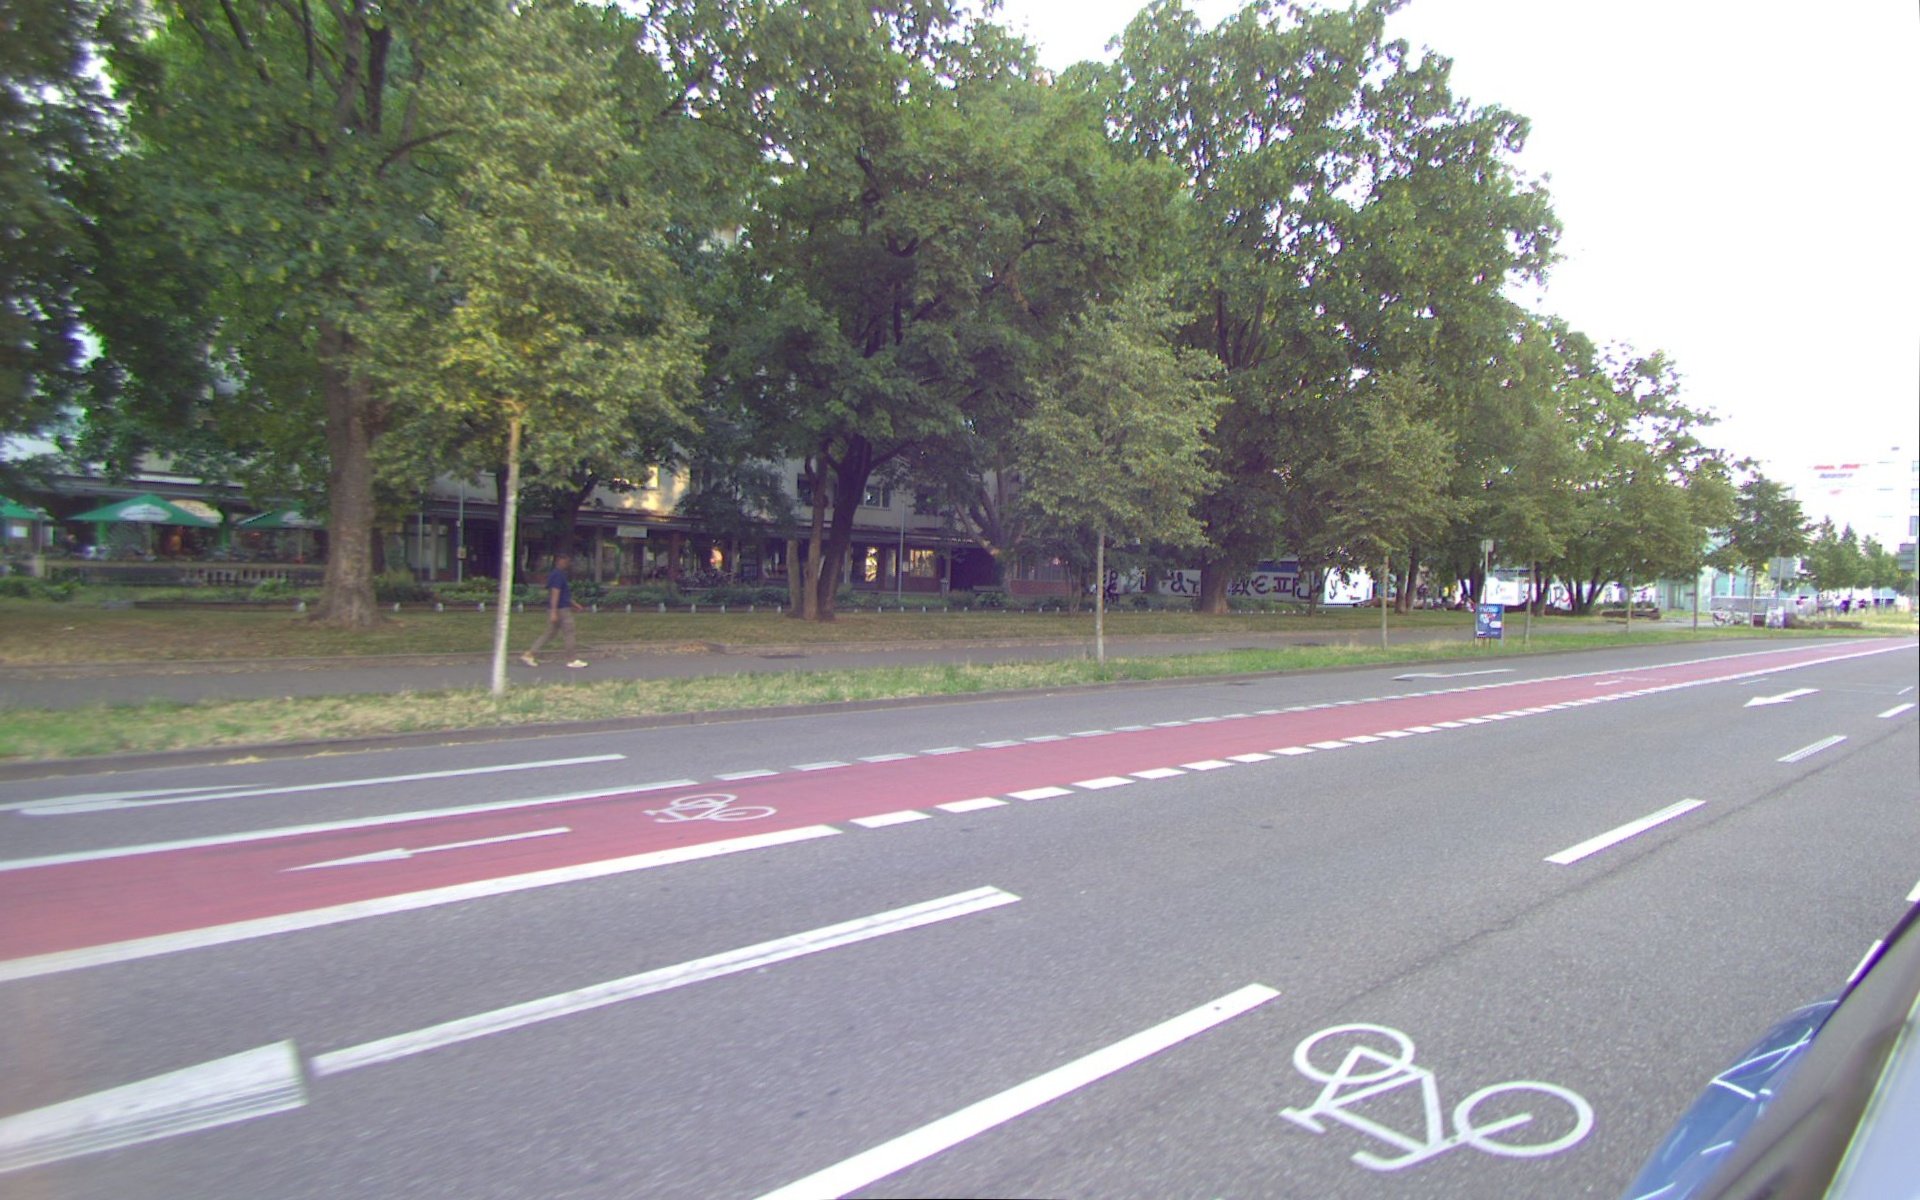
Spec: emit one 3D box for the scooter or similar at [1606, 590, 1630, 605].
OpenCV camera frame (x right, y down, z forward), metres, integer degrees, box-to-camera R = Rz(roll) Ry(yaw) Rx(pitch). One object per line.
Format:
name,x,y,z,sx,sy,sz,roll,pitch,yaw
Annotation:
scooter or similar,54.106,-0.235,83.220,0.466,1.236,1.571,0,0,-42

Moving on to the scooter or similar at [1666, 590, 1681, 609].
scooter or similar,49.074,-0.034,69.600,1.373,1.235,0.425,1,4,-40

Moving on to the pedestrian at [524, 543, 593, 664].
pedestrian,-5.912,0.033,14.904,0.735,1.714,0.696,0,2,-41

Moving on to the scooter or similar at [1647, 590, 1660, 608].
scooter or similar,48.269,-0.072,70.451,0.473,1.235,1.550,6,4,43

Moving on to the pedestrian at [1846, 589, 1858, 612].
pedestrian,75.971,0.042,86.179,0.608,1.957,0.644,1,1,-38

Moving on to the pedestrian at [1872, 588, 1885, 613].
pedestrian,72.974,0.074,80.371,0.608,1.957,0.644,1,2,-40

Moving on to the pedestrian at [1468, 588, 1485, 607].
pedestrian,25.074,-0.128,49.095,0.674,0.895,0.588,2,1,25

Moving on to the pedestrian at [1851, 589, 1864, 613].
pedestrian,72.793,0.088,82.114,0.608,1.957,0.644,1,1,-38

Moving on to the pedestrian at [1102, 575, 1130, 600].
pedestrian,8.205,-0.642,53.186,0.889,1.276,1.135,1,2,-38

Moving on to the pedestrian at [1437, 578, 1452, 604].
pedestrian,35.140,-0.663,73.396,0.587,1.843,0.771,1,1,-25

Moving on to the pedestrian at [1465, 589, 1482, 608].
pedestrian,25.217,-0.089,49.710,0.674,0.895,0.618,2,1,27

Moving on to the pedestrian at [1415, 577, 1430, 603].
pedestrian,33.670,-0.744,73.687,0.587,1.879,0.771,1,1,-25

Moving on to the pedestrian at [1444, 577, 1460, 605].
pedestrian,34.852,-0.629,71.713,0.587,1.943,0.771,1,1,-25

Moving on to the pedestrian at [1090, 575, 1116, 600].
pedestrian,7.434,-0.659,52.653,0.712,1.276,1.135,1,2,-37

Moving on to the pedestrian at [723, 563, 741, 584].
pedestrian,-13.002,-1.519,57.640,0.687,1.178,0.788,1,2,-39

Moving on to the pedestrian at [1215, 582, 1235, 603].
pedestrian,15.704,-0.454,59.965,0.786,1.178,0.754,3,1,44

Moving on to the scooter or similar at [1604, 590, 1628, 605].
scooter or similar,53.543,-0.220,82.642,0.466,1.236,1.571,0,0,-42

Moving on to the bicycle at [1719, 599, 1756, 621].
bicycle,39.345,0.488,51.197,1.858,1.017,0.497,2,3,-20
